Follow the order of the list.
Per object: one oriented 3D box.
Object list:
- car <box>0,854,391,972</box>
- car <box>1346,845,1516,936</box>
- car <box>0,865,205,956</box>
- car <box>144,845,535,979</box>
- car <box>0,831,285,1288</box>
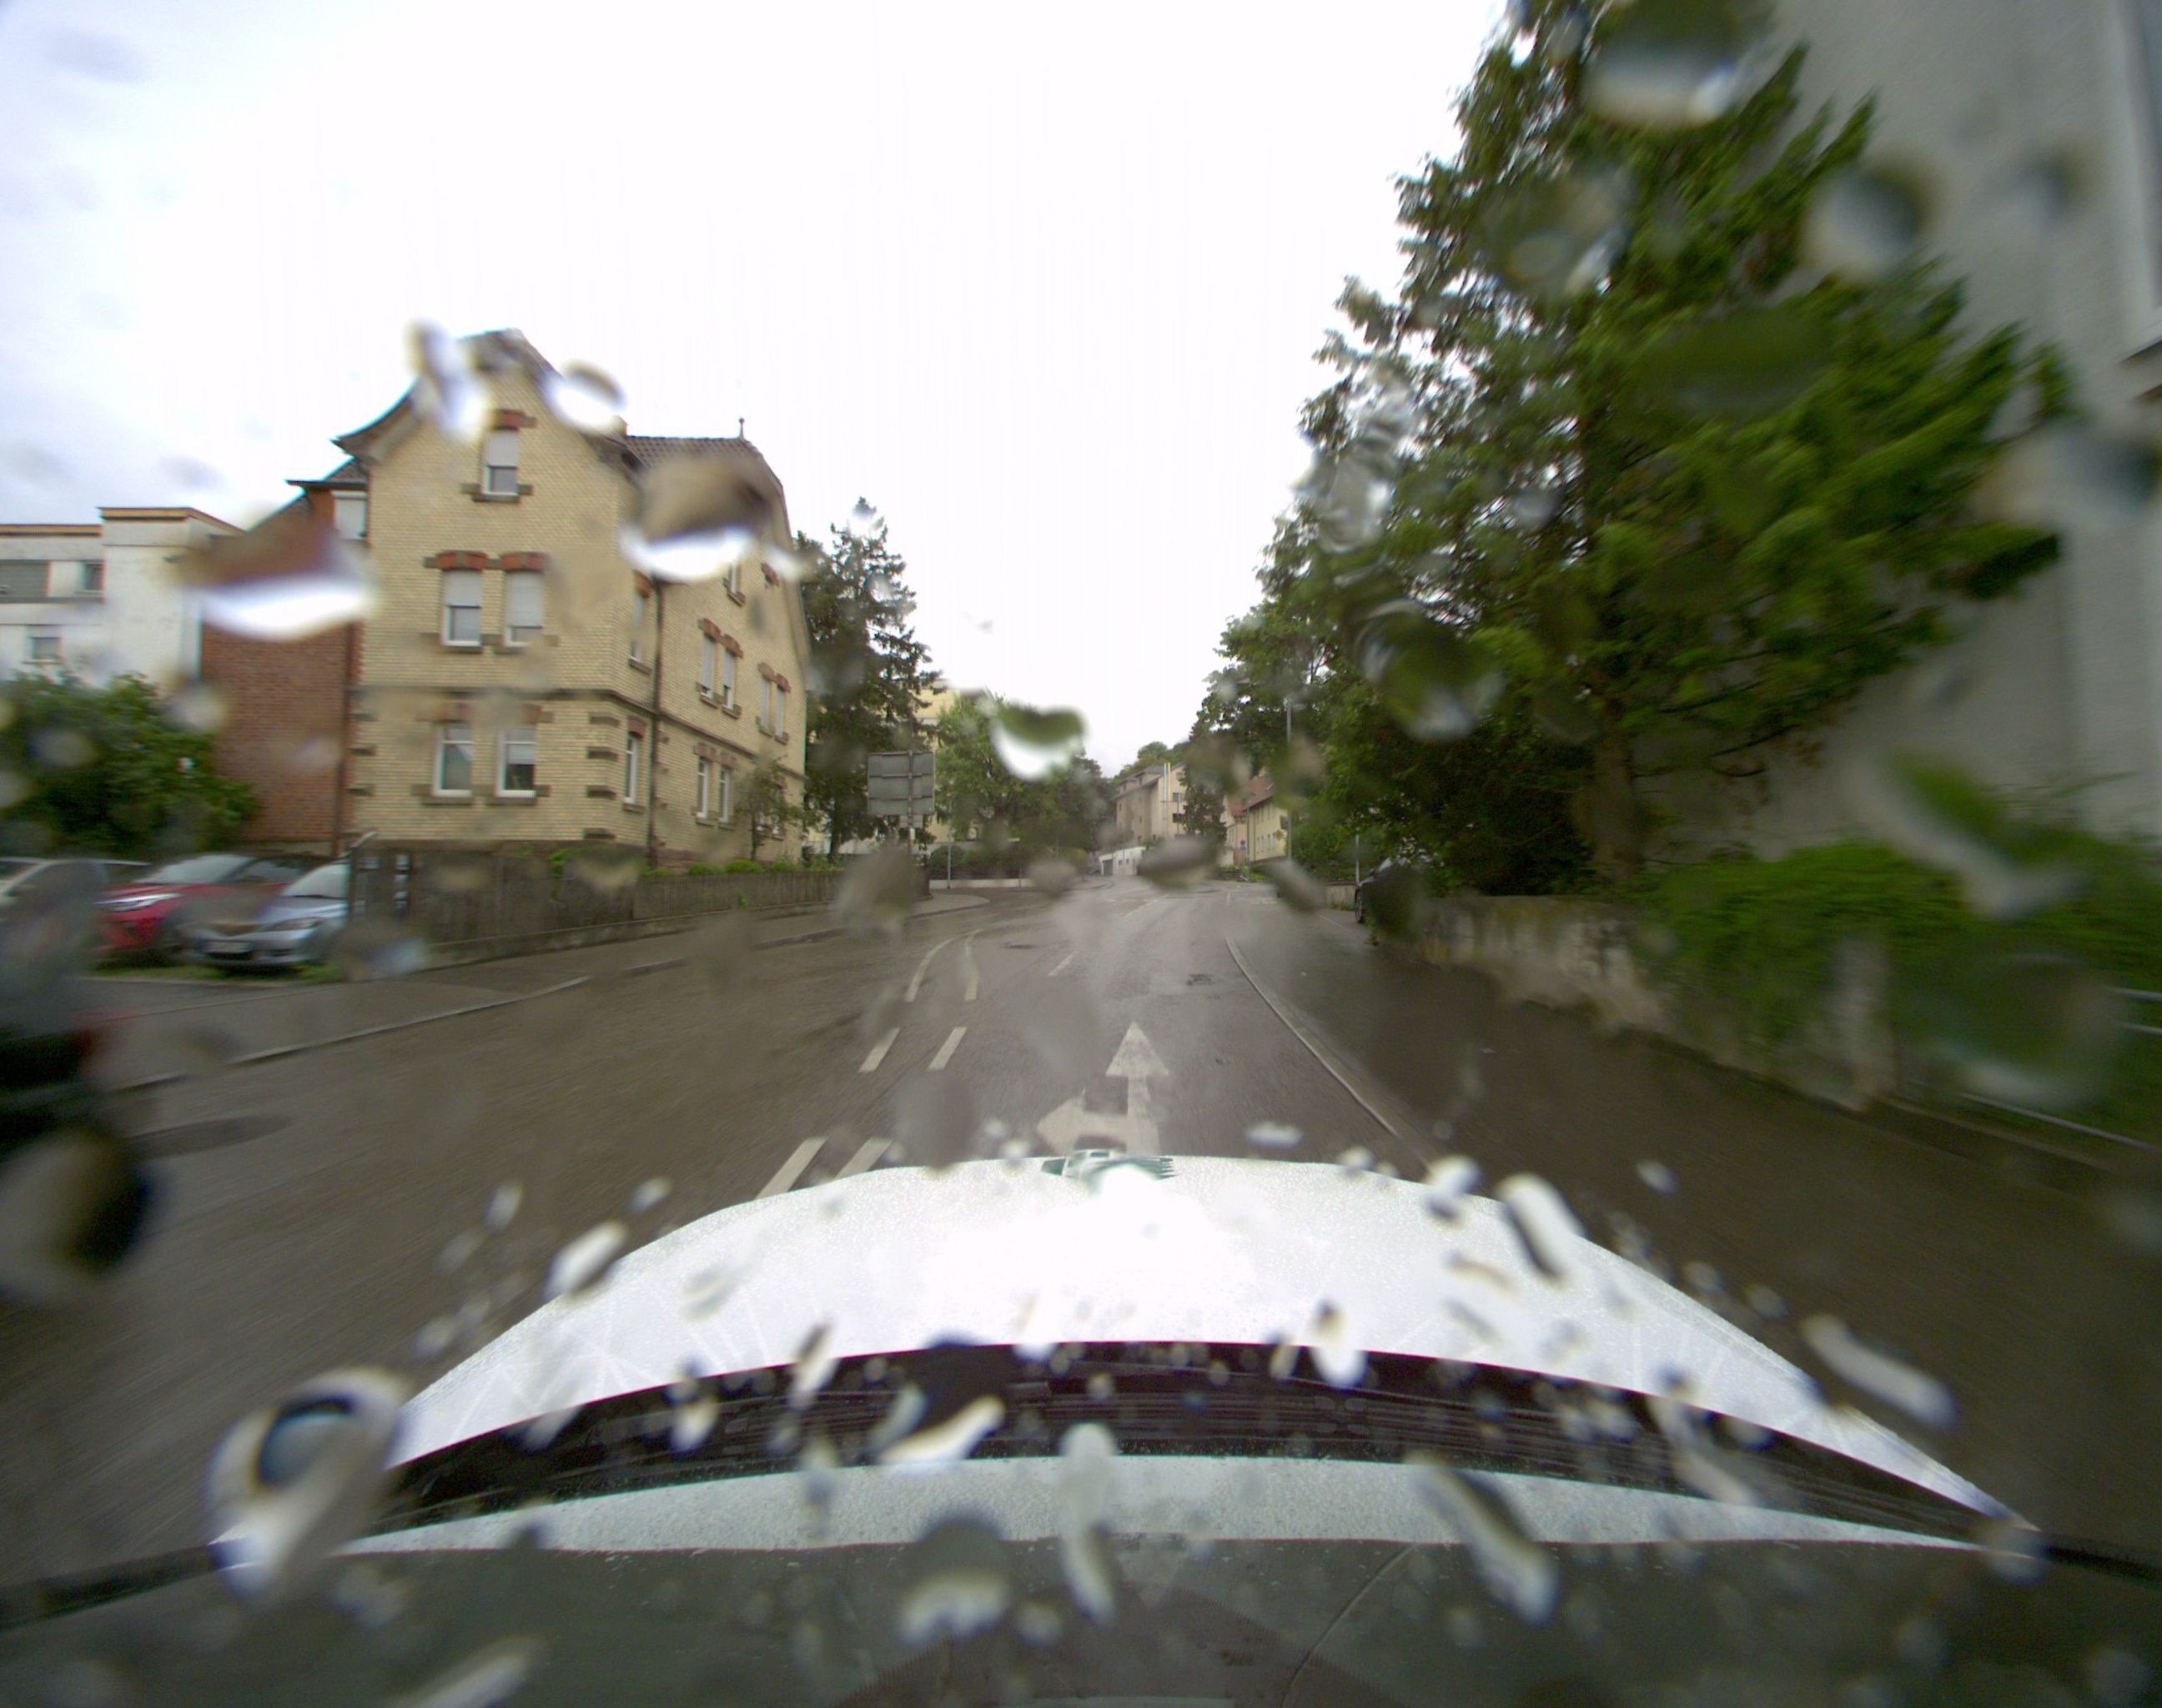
[{"bbox_3d":[-12.506,0.711,11.745,1.765,1.367,3.882,1,0,0],"label":"car"},{"bbox_3d":[6.990,0.664,16.846,1.772,1.570,4.733,2,0,4],"label":"car"},{"bbox_3d":[-15.514,0.784,11.808,1.712,1.166,3.574,1,0,0],"label":"car"},{"bbox_3d":[-9.835,0.666,11.316,1.764,1.503,3.884,1,0,2],"label":"car"},{"bbox_3d":[-4.680,0.690,1.880,1.738,1.571,3.815,3,0,2],"label":"car"}]
